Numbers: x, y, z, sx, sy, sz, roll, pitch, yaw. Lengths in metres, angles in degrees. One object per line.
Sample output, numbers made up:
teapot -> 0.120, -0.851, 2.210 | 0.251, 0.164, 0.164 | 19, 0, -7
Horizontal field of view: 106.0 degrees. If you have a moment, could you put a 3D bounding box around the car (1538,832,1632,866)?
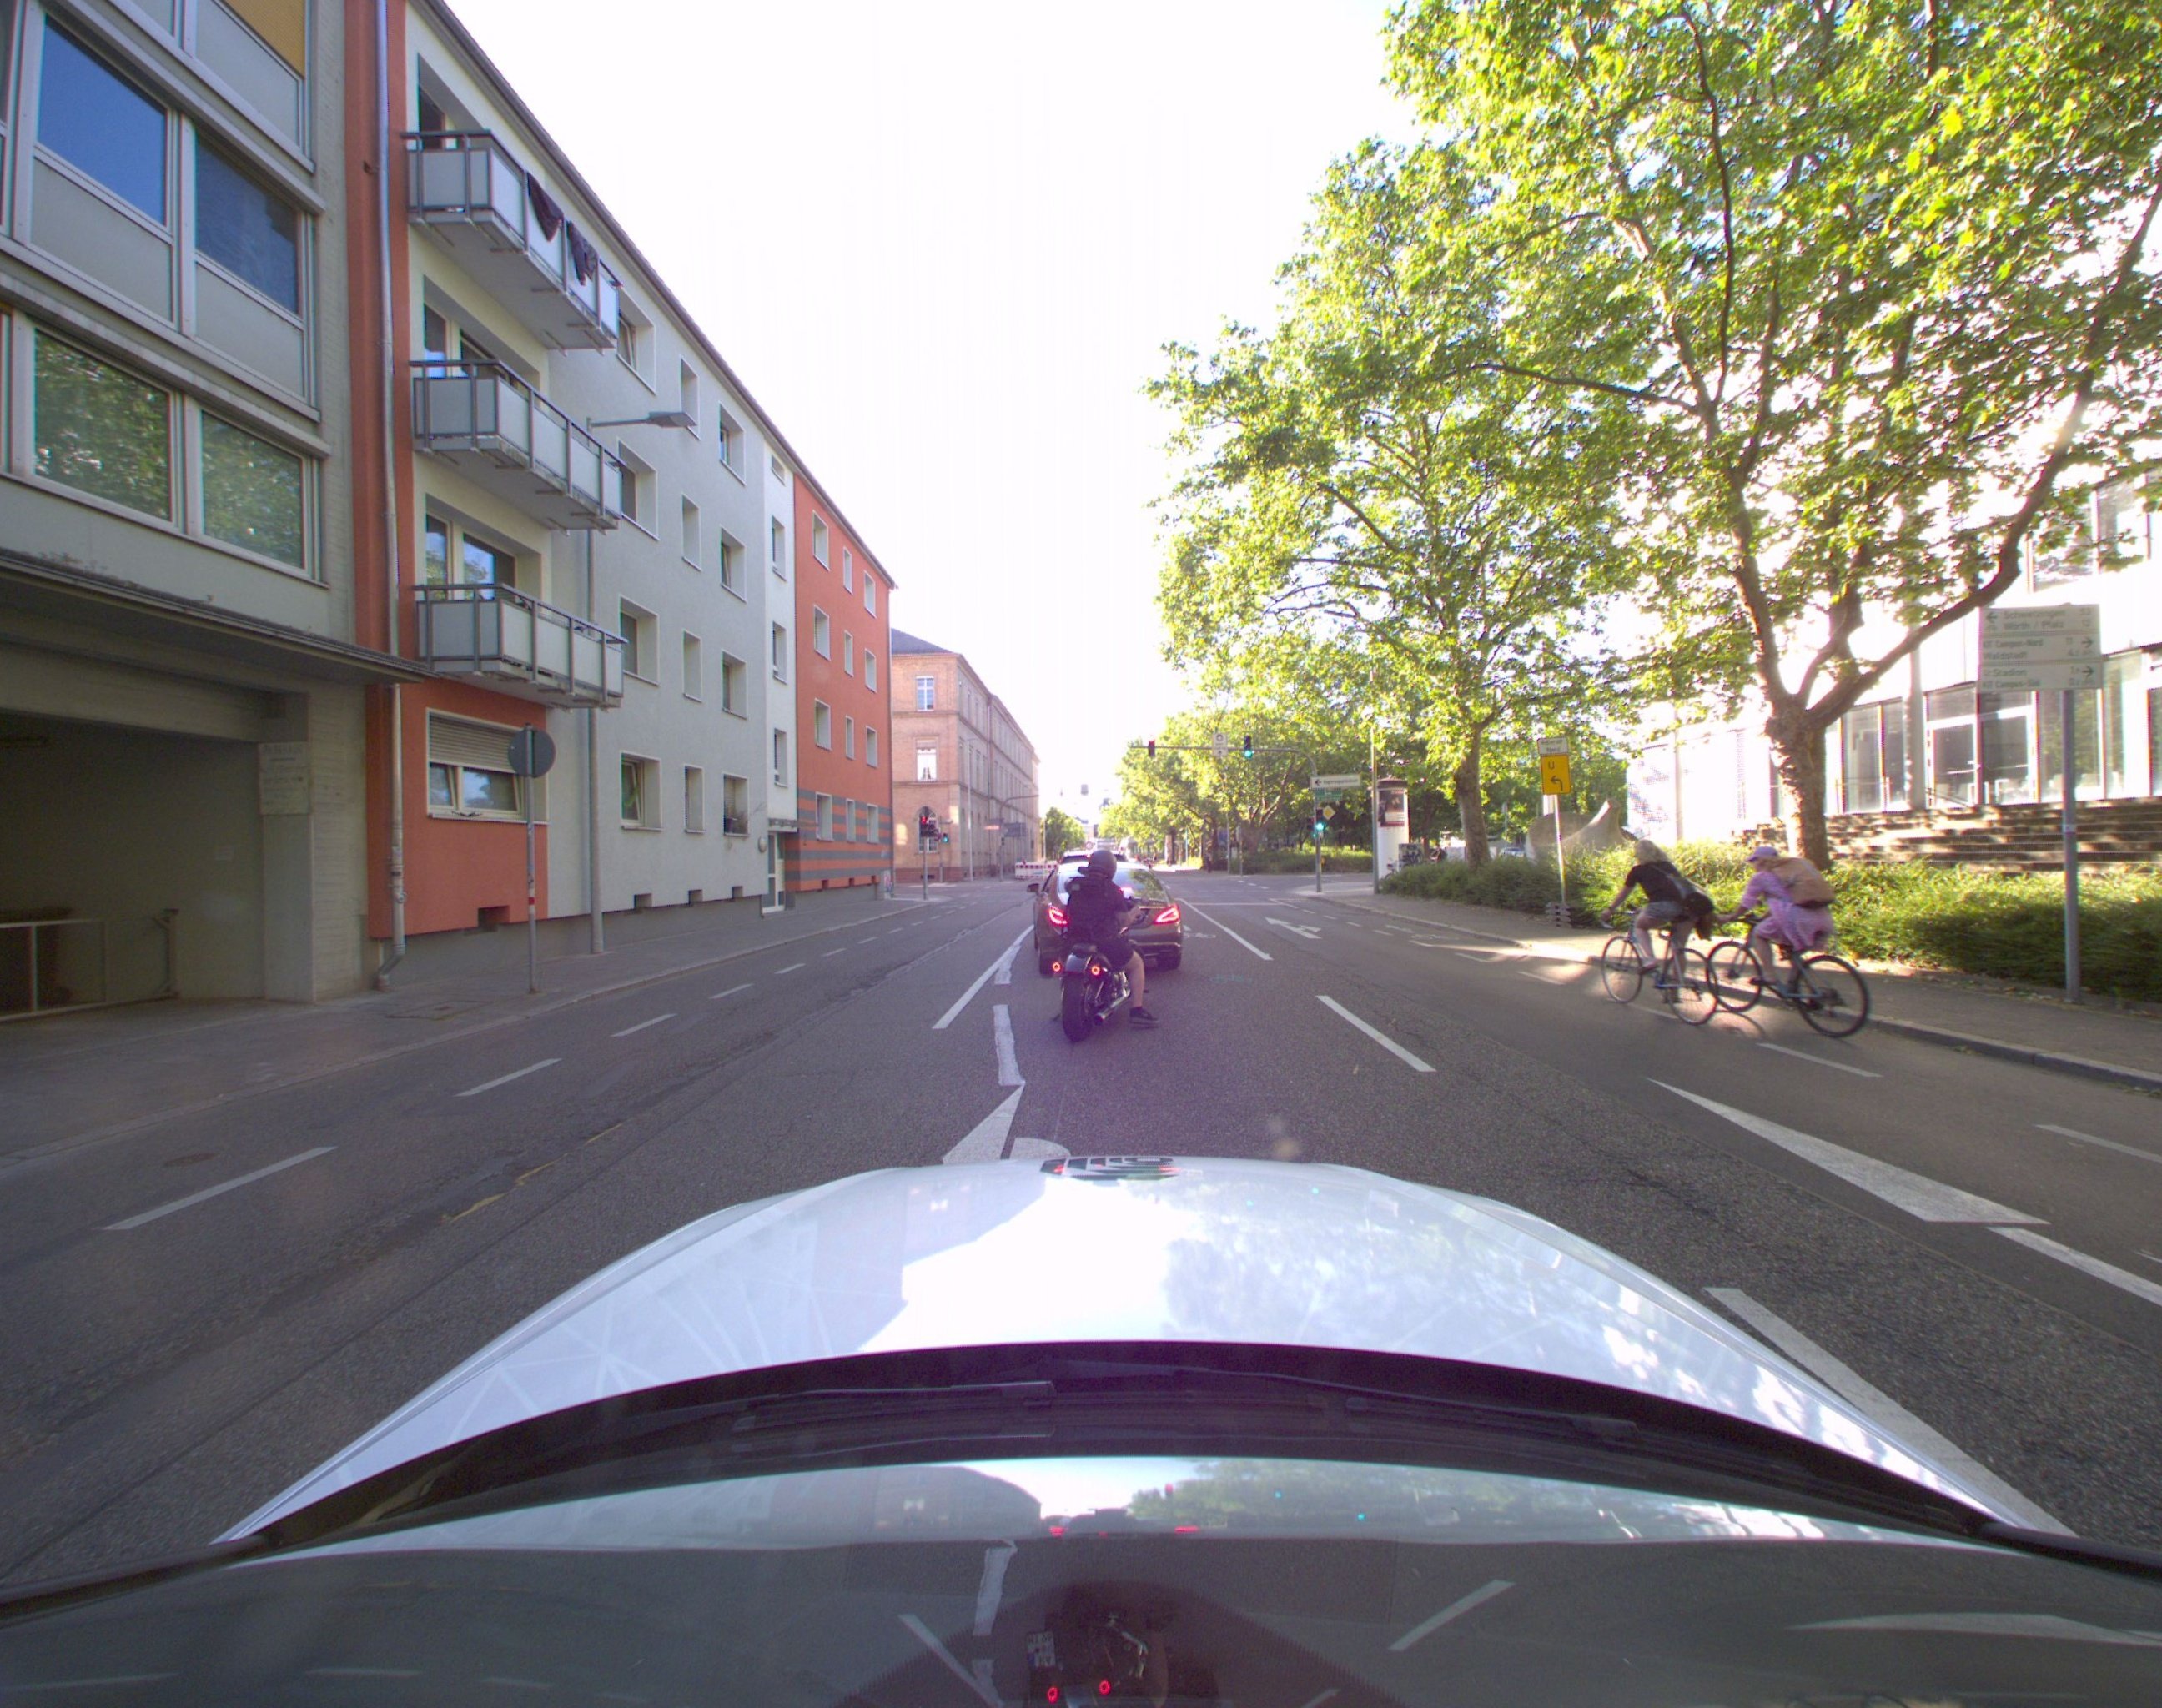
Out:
car -> 28.146, -0.261, 45.596 | 3.975, 1.784, 2.004 | -1, 0, 7

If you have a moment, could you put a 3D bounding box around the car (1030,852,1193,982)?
car -> 0.233, 0.744, 11.748 | 1.818, 1.476, 4.346 | -1, 0, -5

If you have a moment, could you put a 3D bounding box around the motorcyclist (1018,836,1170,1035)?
motorcyclist -> 0.164, 0.665, 7.276 | 1.105, 1.613, 1.206 | -1, 0, 12

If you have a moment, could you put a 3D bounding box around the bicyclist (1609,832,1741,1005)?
bicyclist -> 5.501, 0.565, 7.593 | 0.608, 1.516, 0.890 | 0, 0, 2

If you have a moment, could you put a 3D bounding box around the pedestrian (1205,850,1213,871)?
pedestrian -> 10.329, 0.555, 65.632 | 0.557, 1.678, 0.565 | -1, 0, 1

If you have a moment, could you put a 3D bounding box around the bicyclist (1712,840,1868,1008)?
bicyclist -> 6.295, 0.588, 7.282 | 0.598, 1.402, 0.931 | 1, 0, 2

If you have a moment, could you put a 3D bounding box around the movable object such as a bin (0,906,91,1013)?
movable object such as a bin -> -11.233, 1.100, 8.633 | 0.584, 1.040, 0.712 | -1, 0, 2

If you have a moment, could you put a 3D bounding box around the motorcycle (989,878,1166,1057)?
motorcycle -> 0.099, 0.872, 7.320 | 1.000, 1.204, 2.674 | -1, 0, 12

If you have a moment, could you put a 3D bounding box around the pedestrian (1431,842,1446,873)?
pedestrian -> 21.027, 0.217, 47.912 | 0.617, 1.784, 0.631 | -1, 0, 4

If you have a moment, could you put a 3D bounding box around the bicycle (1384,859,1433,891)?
bicycle -> 10.982, 0.705, 27.336 | 1.411, 1.037, 0.538 | -1, 0, -2

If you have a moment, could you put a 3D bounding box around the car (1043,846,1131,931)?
car -> 0.141, 0.673, 17.747 | 1.676, 1.625, 3.841 | -1, 0, 1

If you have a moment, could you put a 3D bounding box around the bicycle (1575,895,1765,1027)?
bicycle -> 5.512, 0.948, 7.759 | 0.608, 1.026, 1.732 | 0, 0, 2

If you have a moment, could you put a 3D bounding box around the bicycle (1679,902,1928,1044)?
bicycle -> 6.293, 0.979, 7.254 | 0.598, 0.985, 1.882 | 1, 0, 2
